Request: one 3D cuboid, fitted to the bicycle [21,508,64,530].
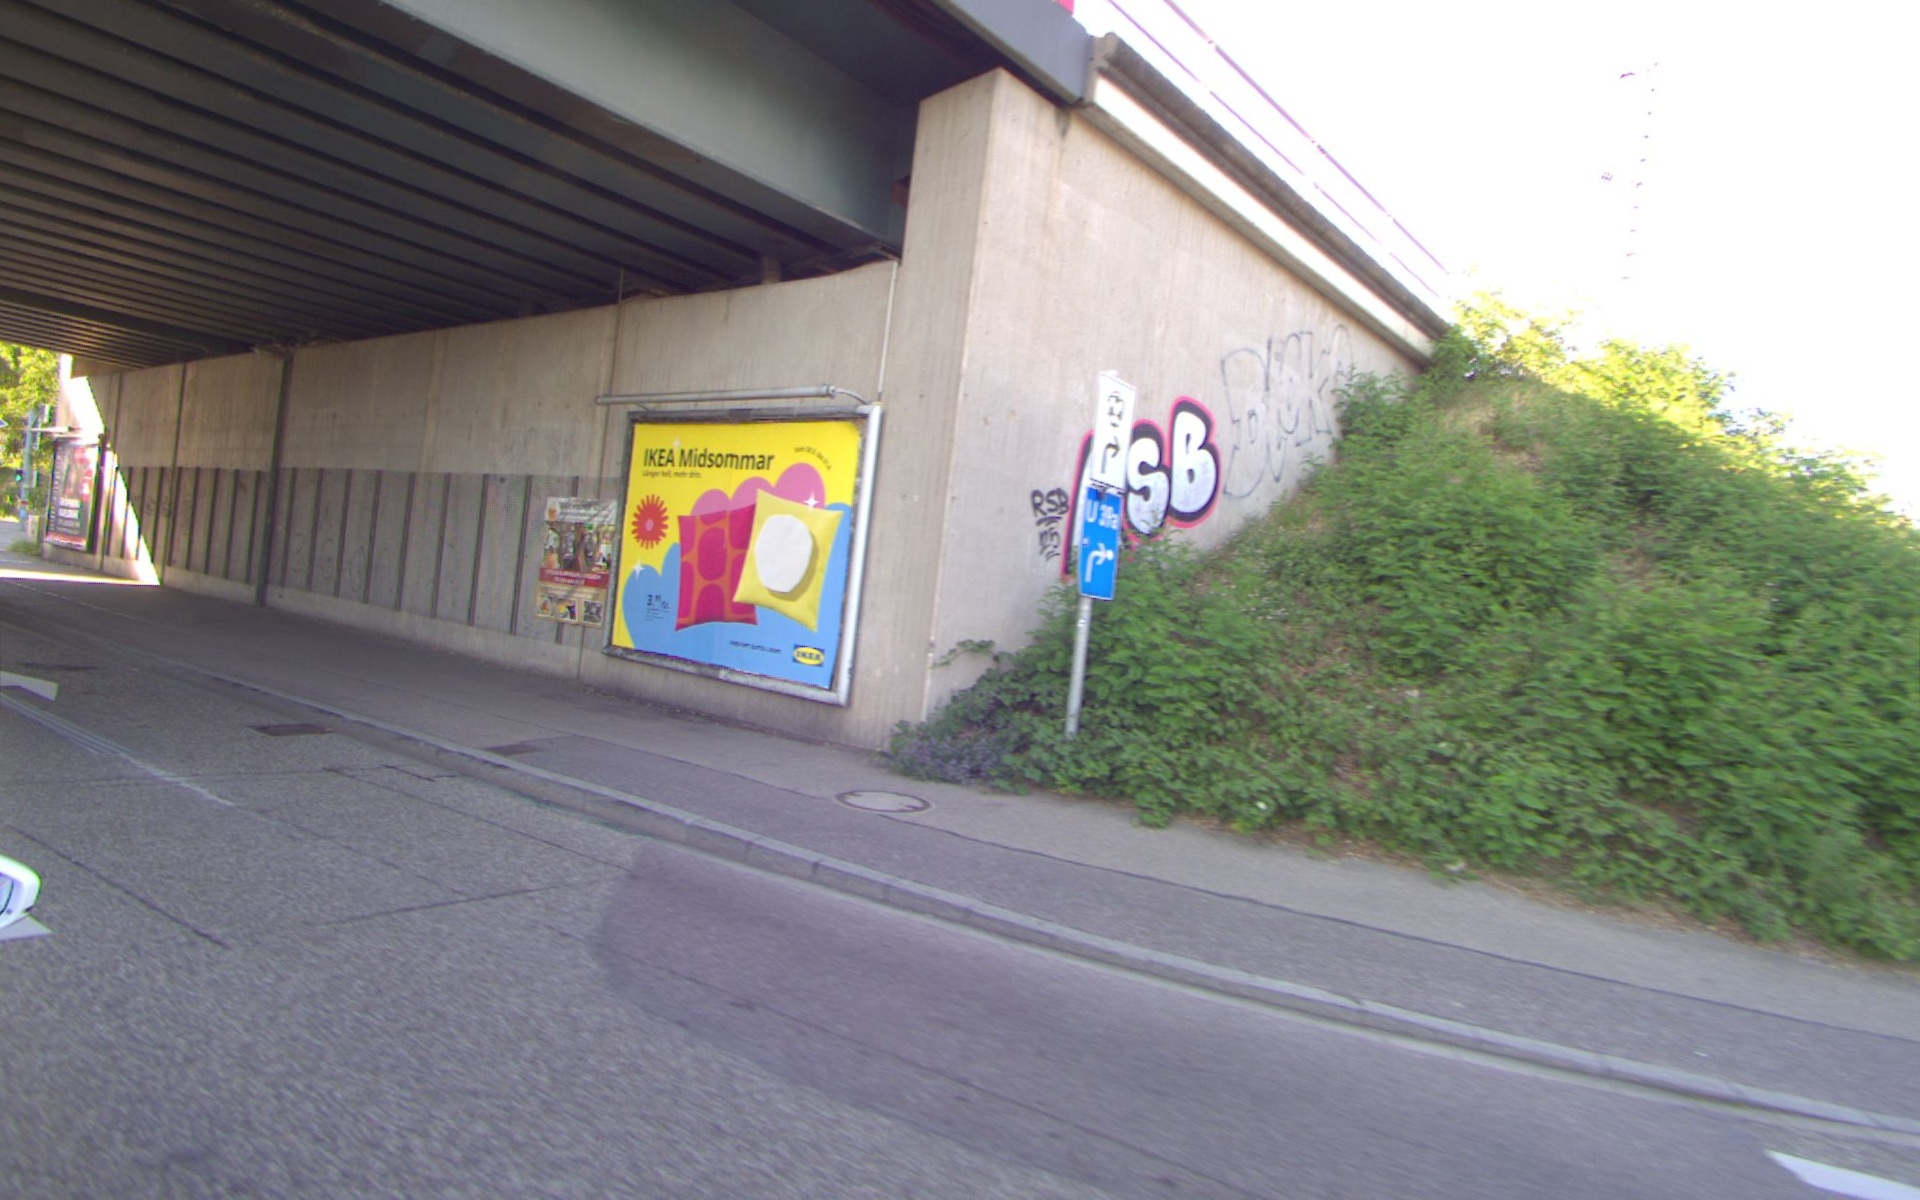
[{"bbox_3d":[-52.207,-4.624,57.253,1.653,1.004,0.572,6,3,-36],"label":"bicycle"}]

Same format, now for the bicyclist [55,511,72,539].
[{"bbox_3d":[-45.432,-3.803,50.978,0.453,1.324,0.427,6,-1,38],"label":"bicyclist"}]
